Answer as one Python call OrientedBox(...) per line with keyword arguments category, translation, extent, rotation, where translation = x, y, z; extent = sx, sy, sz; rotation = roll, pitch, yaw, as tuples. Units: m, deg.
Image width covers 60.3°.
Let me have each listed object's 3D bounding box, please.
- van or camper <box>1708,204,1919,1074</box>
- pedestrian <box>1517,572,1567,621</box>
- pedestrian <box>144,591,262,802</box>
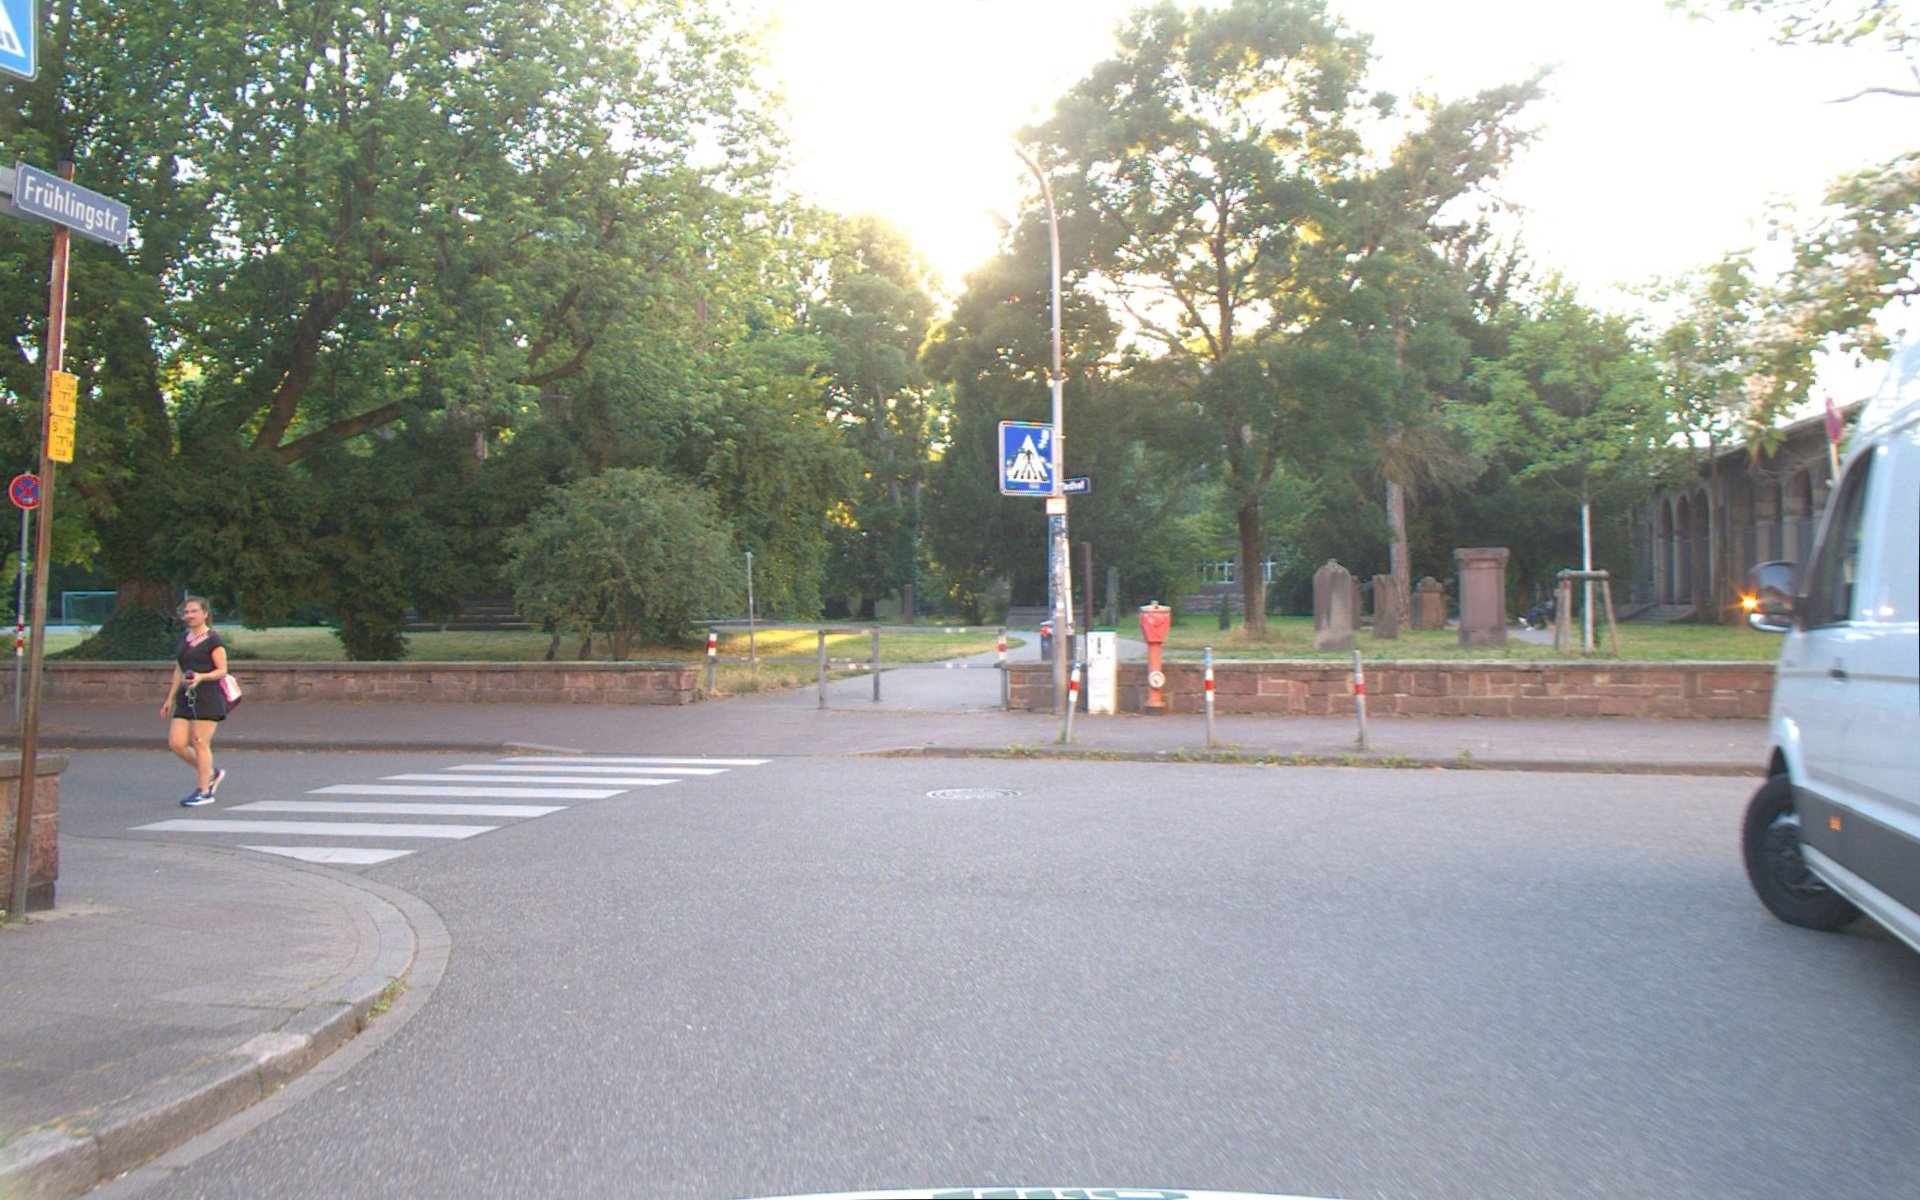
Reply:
OrientedBox(category="van or camper", translation=(3.928, 0.121, 4.989), extent=(1.951, 2.664, 6.407), rotation=(1, 0, 14))
OrientedBox(category="pedestrian", translation=(17.854, -0.121, 50.759), extent=(1.300, 1.469, 1.047), rotation=(-1, 0, 13))
OrientedBox(category="pedestrian", translation=(-6.215, 0.775, 13.607), extent=(0.633, 1.677, 0.674), rotation=(1, 1, 1))
